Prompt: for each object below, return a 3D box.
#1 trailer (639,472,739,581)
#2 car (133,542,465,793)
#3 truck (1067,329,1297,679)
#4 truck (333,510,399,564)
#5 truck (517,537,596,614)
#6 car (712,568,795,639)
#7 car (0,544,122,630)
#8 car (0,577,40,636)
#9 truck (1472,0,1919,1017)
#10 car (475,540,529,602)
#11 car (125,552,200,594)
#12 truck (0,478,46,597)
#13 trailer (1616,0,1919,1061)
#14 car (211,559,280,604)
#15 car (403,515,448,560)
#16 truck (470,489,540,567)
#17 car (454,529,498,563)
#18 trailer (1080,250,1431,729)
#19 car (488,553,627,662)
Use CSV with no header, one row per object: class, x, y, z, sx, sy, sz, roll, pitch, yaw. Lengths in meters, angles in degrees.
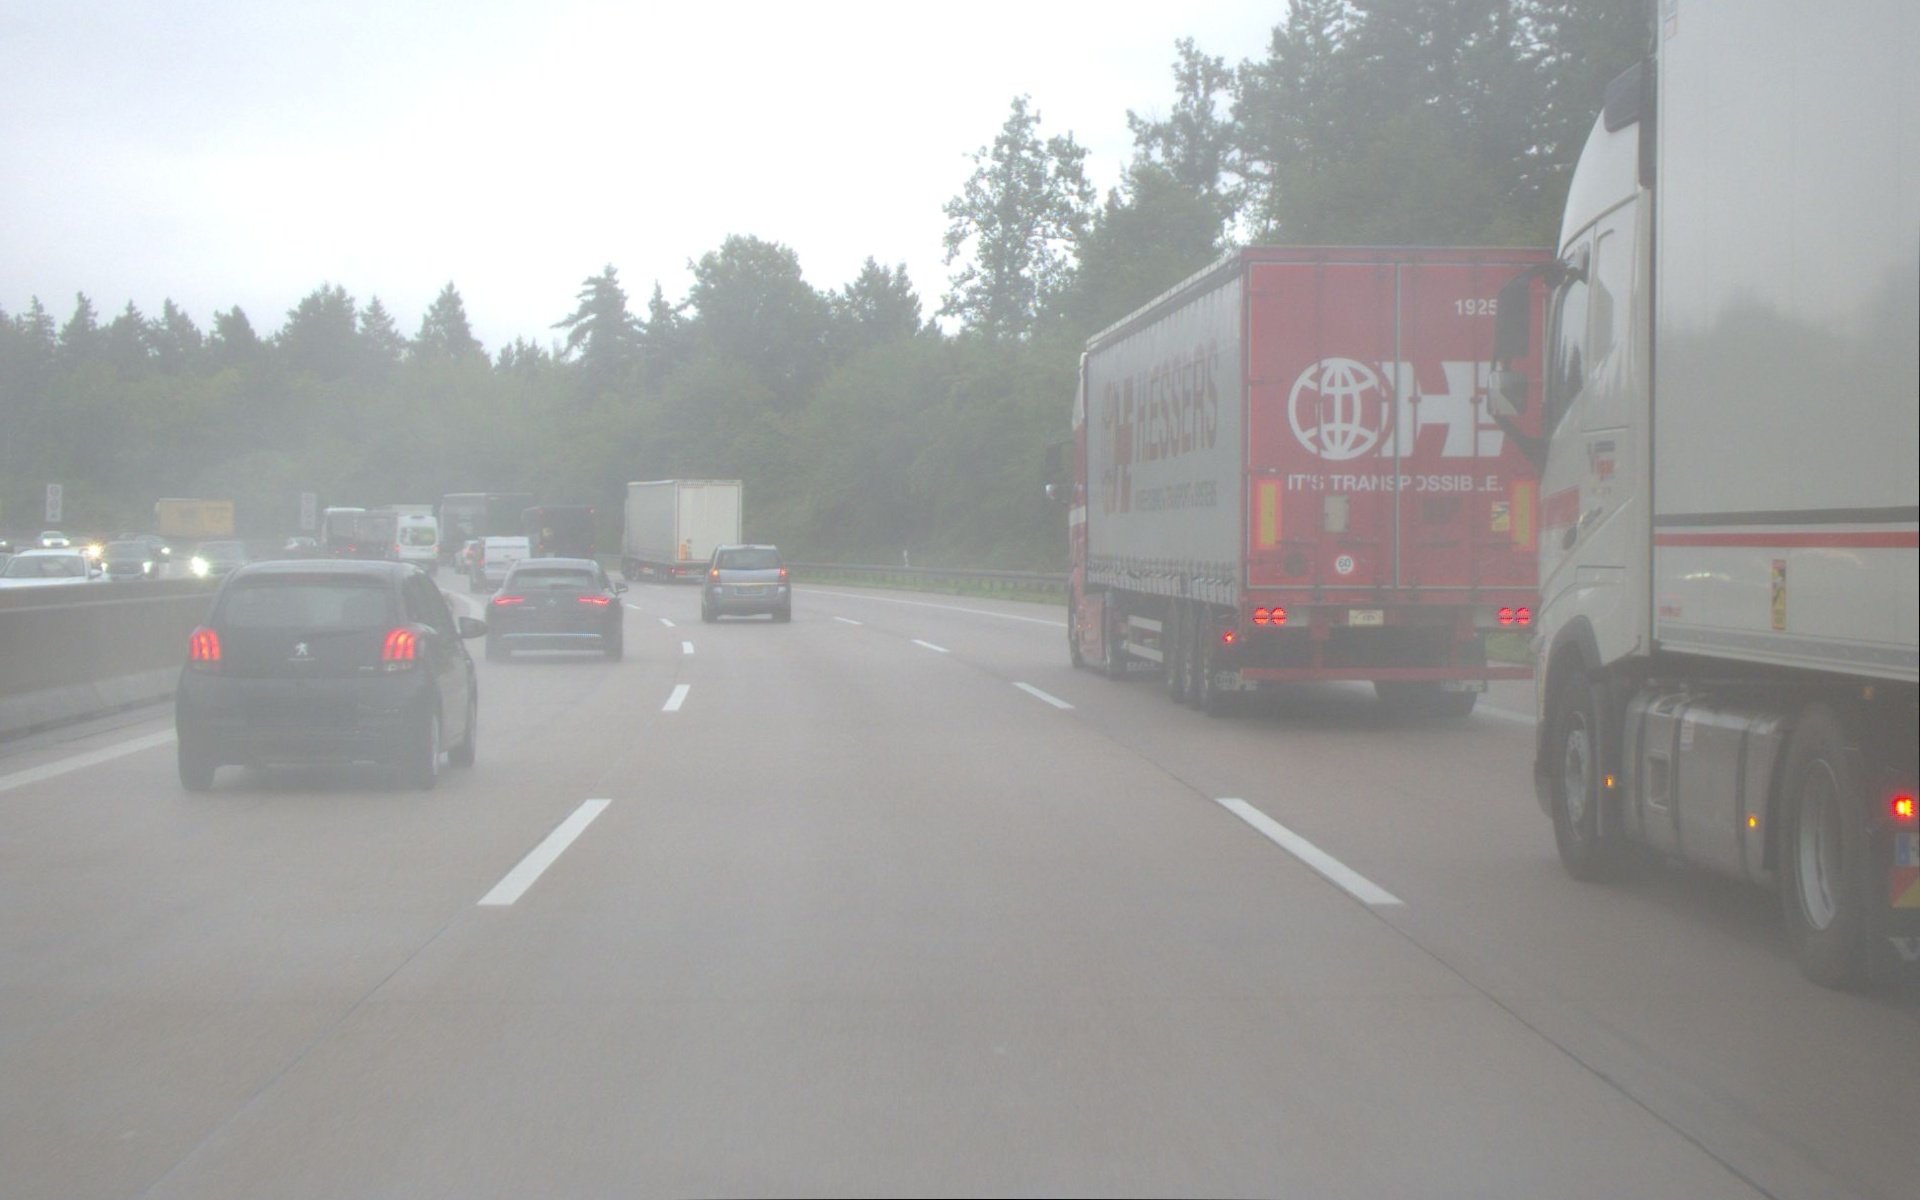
trailer,-10.756,-2.941,135.341,2.419,4.054,12.059,1,2,-12
car,-4.282,0.381,22.739,1.683,1.457,3.684,2,1,-4
truck,2.608,-1.138,42.022,2.375,3.940,6.160,0,1,0
truck,-34.806,-3.705,201.335,3.081,2.895,7.906,1,2,-15
truck,-16.887,-1.070,143.441,2.268,2.877,7.906,1,2,-14
car,-4.252,0.054,71.282,1.553,1.347,3.684,2,1,-2
car,-16.317,-0.253,61.745,1.653,1.474,4.546,1,1,-4
car,-21.047,0.118,73.930,1.653,1.194,4.546,1,1,-5
truck,4.062,-0.732,14.150,2.798,4.089,5.968,0,1,-2
car,-15.161,-0.965,113.651,1.725,2.007,3.658,0,1,-9
car,-26.706,-0.908,115.268,1.804,1.342,4.767,1,1,-5
truck,-28.140,-1.792,98.001,2.621,3.285,9.384,0,1,-6
trailer,4.317,-0.627,7.301,2.734,4.089,13.684,0,1,-2
car,-22.363,-0.596,107.756,1.653,1.342,4.087,1,1,-5
car,-24.587,-2.870,158.179,1.993,2.052,4.001,0,1,-8
truck,-24.866,-3.971,187.401,3.368,4.117,10.441,1,2,-10
car,-22.915,-2.562,162.632,1.881,1.468,4.001,2,1,-9
trailer,2.660,-1.016,34.684,2.370,3.940,12.521,0,1,0
car,-5.479,0.076,47.081,1.553,1.347,3.684,2,1,-2
